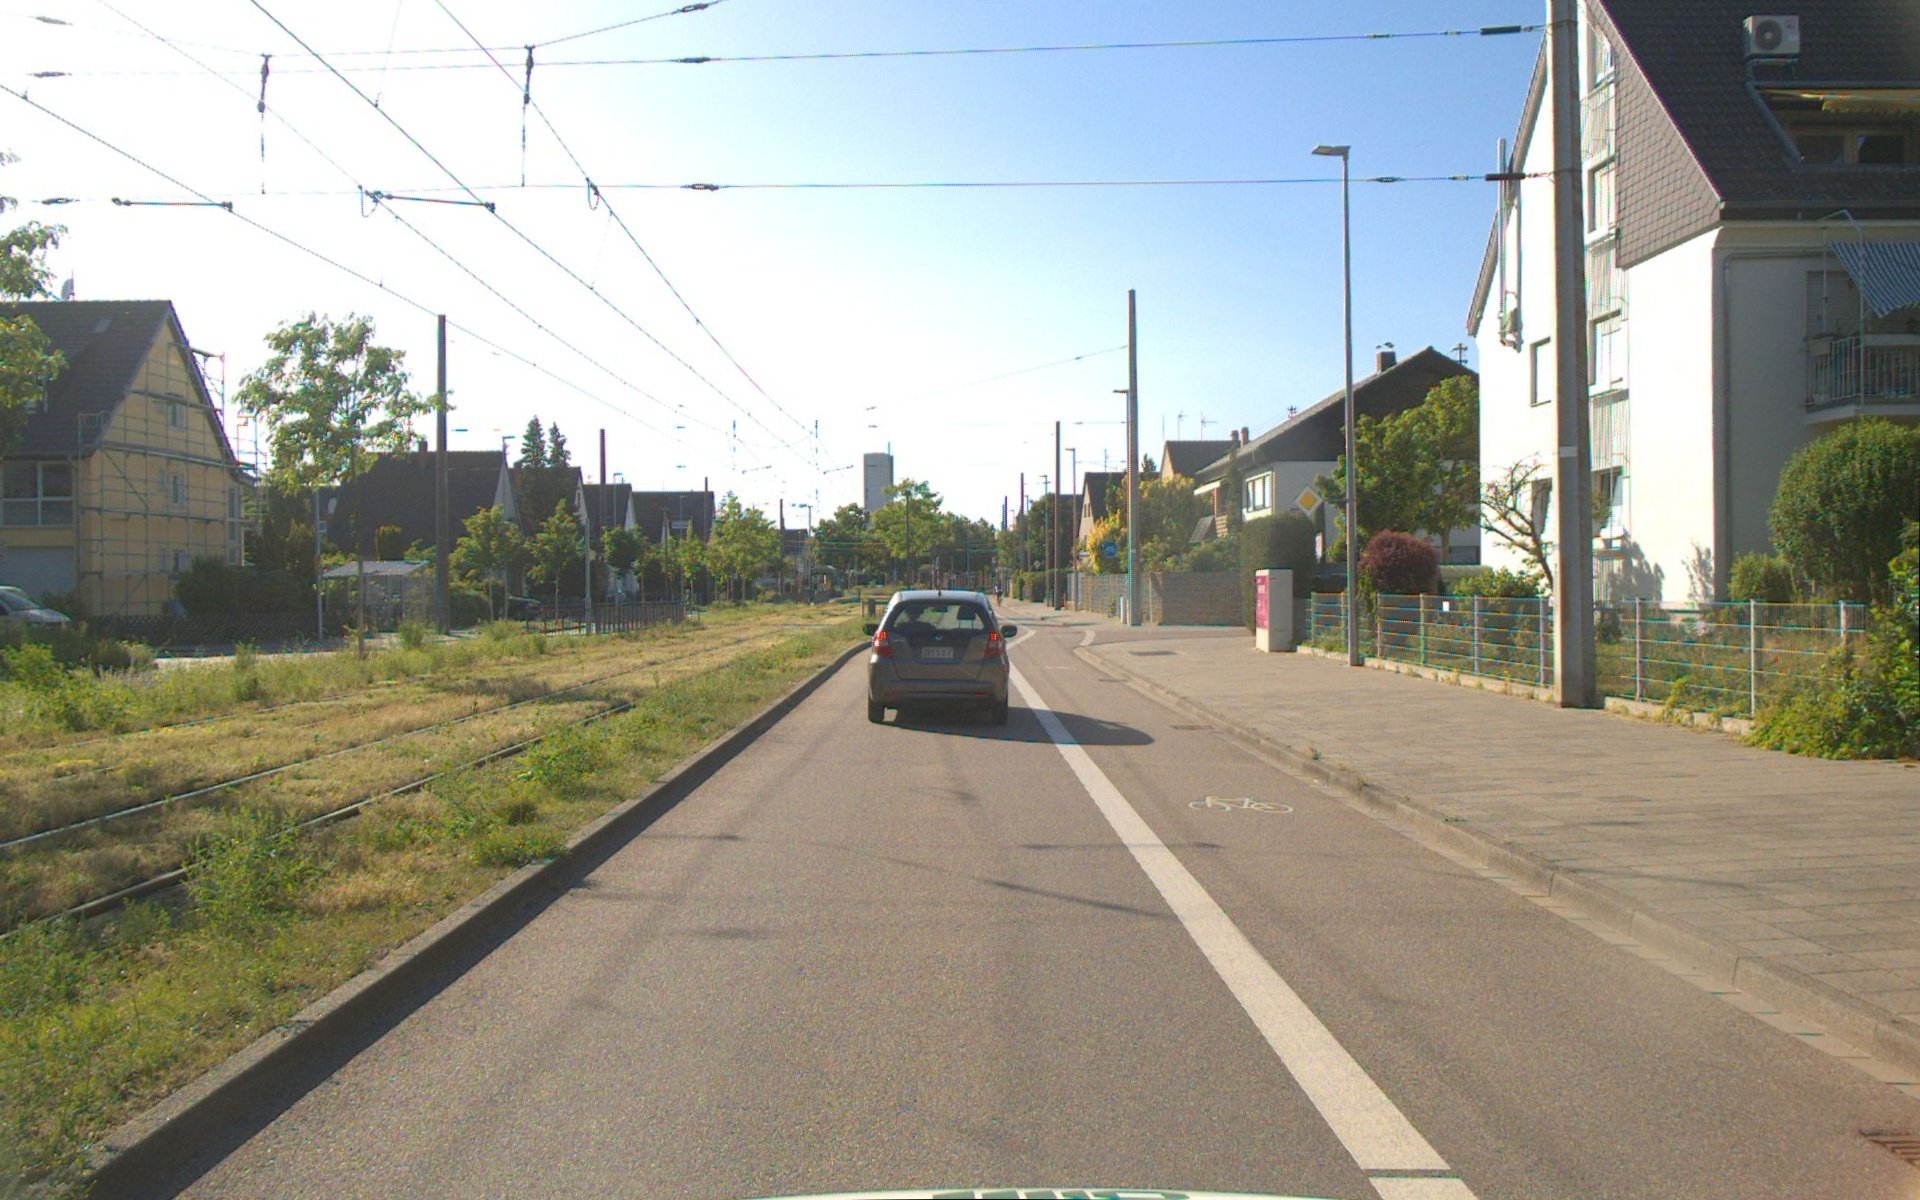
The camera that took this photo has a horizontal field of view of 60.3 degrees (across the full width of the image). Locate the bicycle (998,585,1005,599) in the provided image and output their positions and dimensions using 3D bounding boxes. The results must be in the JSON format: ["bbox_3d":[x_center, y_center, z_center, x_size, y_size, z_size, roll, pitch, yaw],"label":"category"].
[{"bbox_3d":[3.060,-0.589,121.843,0.465,0.978,1.657,0,0,0],"label":"bicycle"}]

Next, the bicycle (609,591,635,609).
[{"bbox_3d":[-26.310,-0.001,128.767,1.951,1.389,0.704,-2,0,-7],"label":"bicycle"}]

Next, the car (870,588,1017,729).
[{"bbox_3d":[-0.240,0.656,20.278,1.637,1.562,3.485,0,0,-2],"label":"car"}]

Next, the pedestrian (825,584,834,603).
[{"bbox_3d":[-11.144,-0.541,141.172,0.662,1.562,0.748,-2,1,-5],"label":"pedestrian"}]

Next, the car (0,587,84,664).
[{"bbox_3d":[-26.261,0.717,44.253,4.590,1.948,1.904,-2,1,1],"label":"car"}]

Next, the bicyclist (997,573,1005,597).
[{"bbox_3d":[2.989,-1.096,121.642,0.586,1.731,0.683,0,0,0],"label":"bicyclist"}]

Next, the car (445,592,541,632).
[{"bbox_3d":[-23.366,0.587,82.932,4.461,1.765,2.047,-2,1,-12],"label":"car"}]

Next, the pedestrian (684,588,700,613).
[{"bbox_3d":[-18.356,0.044,113.302,0.945,1.669,1.085,-2,0,-1],"label":"pedestrian"}]
